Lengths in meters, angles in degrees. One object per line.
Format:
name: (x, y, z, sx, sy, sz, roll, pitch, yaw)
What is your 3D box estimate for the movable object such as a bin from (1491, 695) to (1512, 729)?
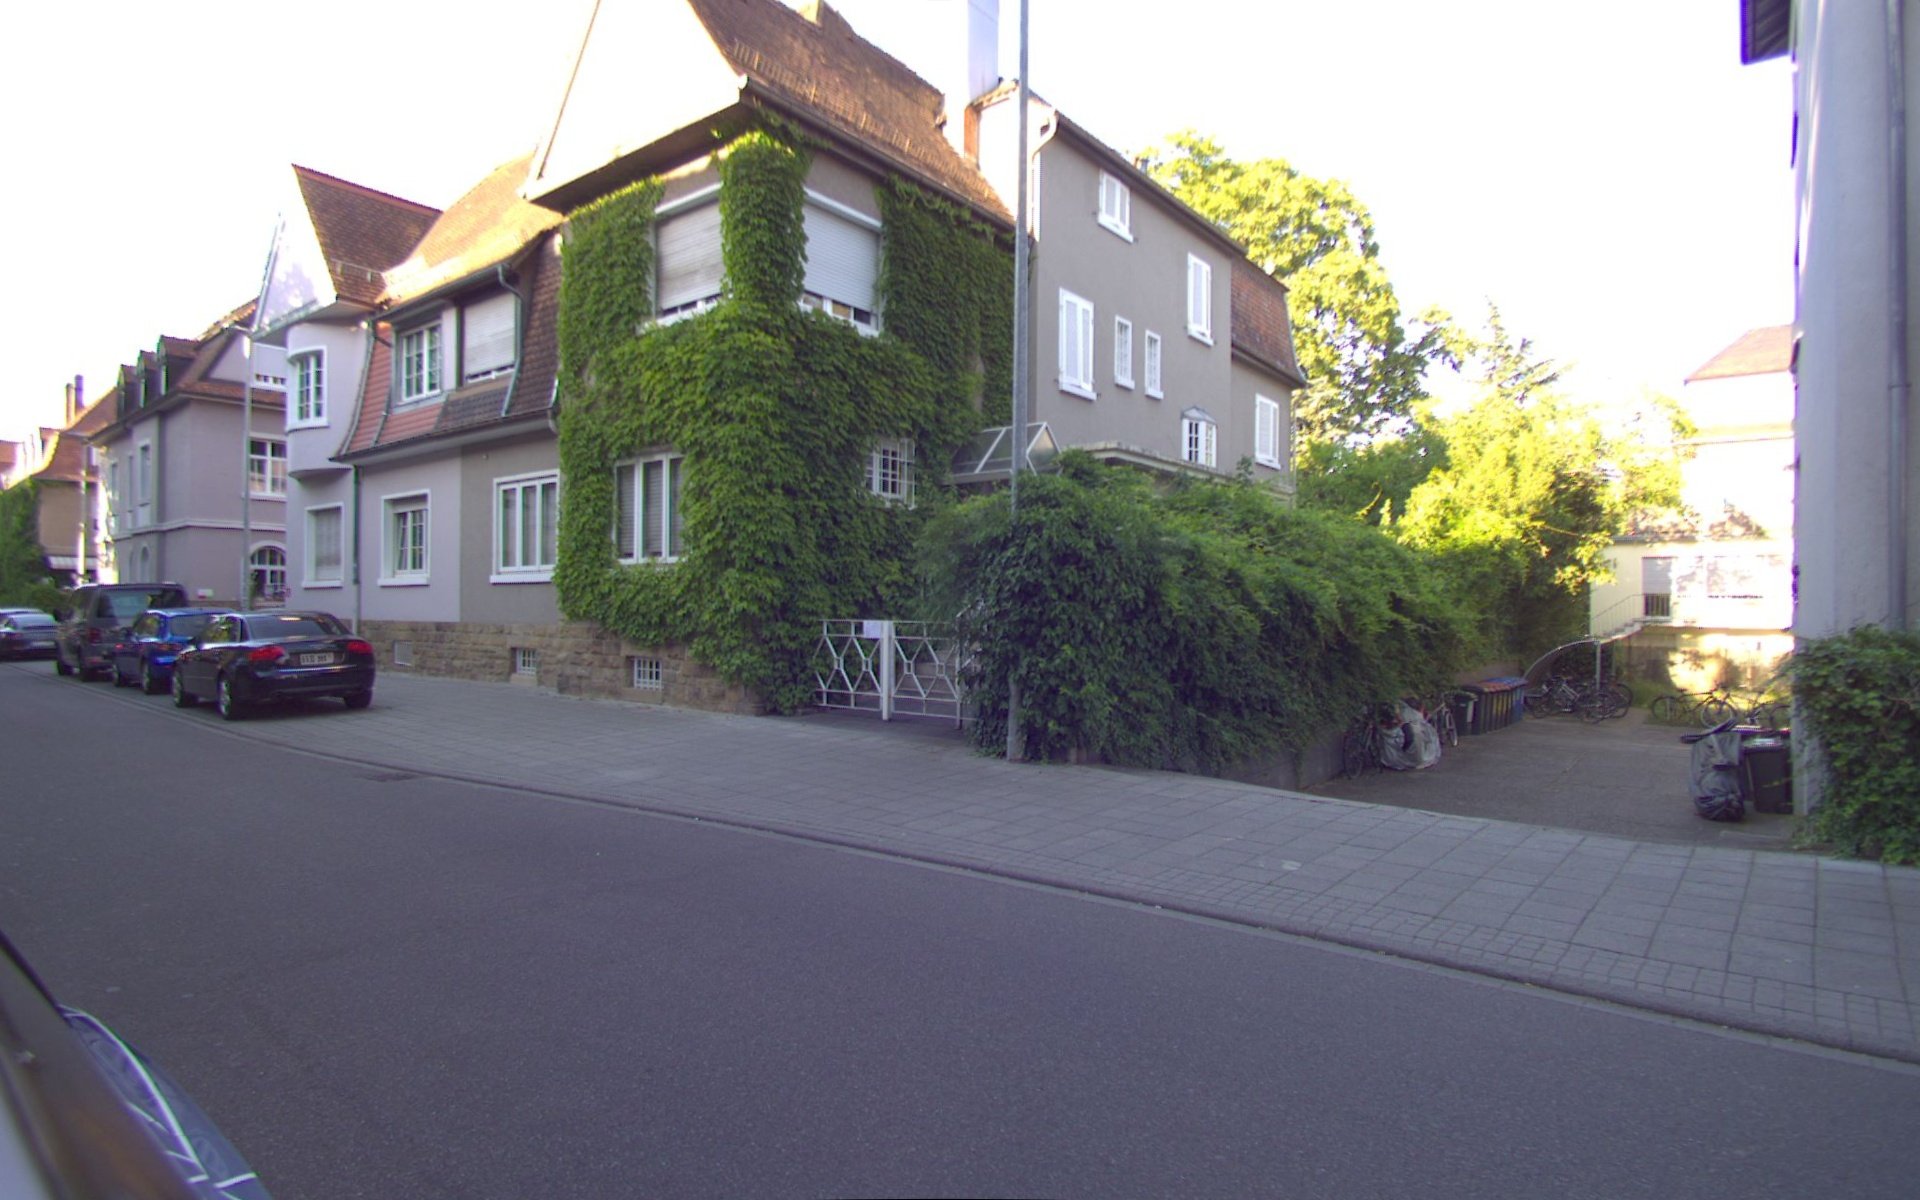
movable object such as a bin: (12.663, 2.604, 23.655, 0.367, 0.764, 0.359, -1, -4, 41)

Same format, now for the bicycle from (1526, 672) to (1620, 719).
bicycle: (16.237, 2.512, 26.845, 2.068, 1.028, 0.565, 2, 3, 42)

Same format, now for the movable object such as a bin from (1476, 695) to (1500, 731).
movable object such as a bin: (11.874, 2.537, 22.762, 0.398, 0.779, 0.359, -1, -4, 41)

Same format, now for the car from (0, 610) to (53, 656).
car: (-30.777, 1.055, 32.818, 3.943, 1.381, 1.522, -1, 1, 40)

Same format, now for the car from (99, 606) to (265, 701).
car: (-14.363, 0.903, 18.613, 4.021, 1.475, 1.590, 0, 2, 40)

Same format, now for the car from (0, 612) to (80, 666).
car: (-26.924, 1.075, 29.170, 4.331, 1.381, 1.697, -1, 1, 40)

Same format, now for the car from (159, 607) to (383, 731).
car: (-10.007, 0.878, 14.589, 4.023, 1.439, 1.729, 0, 2, 42)

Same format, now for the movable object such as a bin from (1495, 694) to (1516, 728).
movable object such as a bin: (12.916, 2.619, 23.950, 0.367, 0.764, 0.359, -1, -4, 41)

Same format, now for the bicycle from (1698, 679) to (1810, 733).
bicycle: (18.963, 2.519, 24.208, 2.068, 1.028, 0.634, 2, 3, 42)

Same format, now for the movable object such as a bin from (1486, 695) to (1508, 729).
movable object such as a bin: (12.399, 2.583, 23.364, 0.375, 0.764, 0.359, -1, -4, 41)

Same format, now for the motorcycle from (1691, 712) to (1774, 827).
motorcycle: (10.058, 2.166, 13.225, 0.757, 1.261, 1.575, -1, -2, 34)

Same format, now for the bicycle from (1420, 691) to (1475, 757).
bicycle: (9.310, 2.329, 19.289, 0.514, 1.027, 1.914, 1, 0, 39)

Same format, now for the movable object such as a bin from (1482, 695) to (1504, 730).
movable object such as a bin: (12.145, 2.558, 23.064, 0.381, 0.779, 0.359, -1, -4, 41)

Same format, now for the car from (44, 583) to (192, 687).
car: (-18.161, 0.666, 21.764, 4.309, 1.987, 1.697, 0, 2, 40)

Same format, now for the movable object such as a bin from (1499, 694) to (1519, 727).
movable object such as a bin: (13.171, 2.648, 24.259, 0.346, 0.764, 0.359, -1, -4, 41)

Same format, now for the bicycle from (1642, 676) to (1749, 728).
bicycle: (18.118, 2.499, 24.974, 2.068, 1.028, 0.634, 2, 3, 42)

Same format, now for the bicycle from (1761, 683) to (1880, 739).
bicycle: (19.858, 2.540, 23.402, 2.068, 1.028, 0.634, 2, 3, 42)

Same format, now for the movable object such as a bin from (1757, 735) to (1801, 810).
movable object such as a bin: (11.081, 2.315, 13.705, 0.432, 0.894, 0.717, -1, -2, 37)

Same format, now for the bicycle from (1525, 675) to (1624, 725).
bicycle: (15.666, 2.521, 25.836, 2.068, 1.028, 0.634, 2, 3, 42)

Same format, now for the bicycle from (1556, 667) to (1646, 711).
bicycle: (18.025, 2.489, 28.502, 2.068, 1.028, 0.608, 2, 3, 42)

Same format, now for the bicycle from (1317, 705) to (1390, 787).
bicycle: (6.181, 2.246, 15.842, 0.514, 1.027, 1.914, 1, 0, 39)

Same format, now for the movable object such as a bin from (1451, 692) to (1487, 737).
movable object such as a bin: (10.909, 2.444, 21.701, 0.576, 0.886, 0.488, 0, -3, 41)

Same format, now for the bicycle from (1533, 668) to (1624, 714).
bicycle: (17.104, 2.500, 28.042, 2.068, 1.028, 0.608, 2, 3, 42)

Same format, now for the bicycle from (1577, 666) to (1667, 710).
bicycle: (18.828, 2.481, 28.801, 2.068, 1.028, 0.561, 2, 3, 42)
